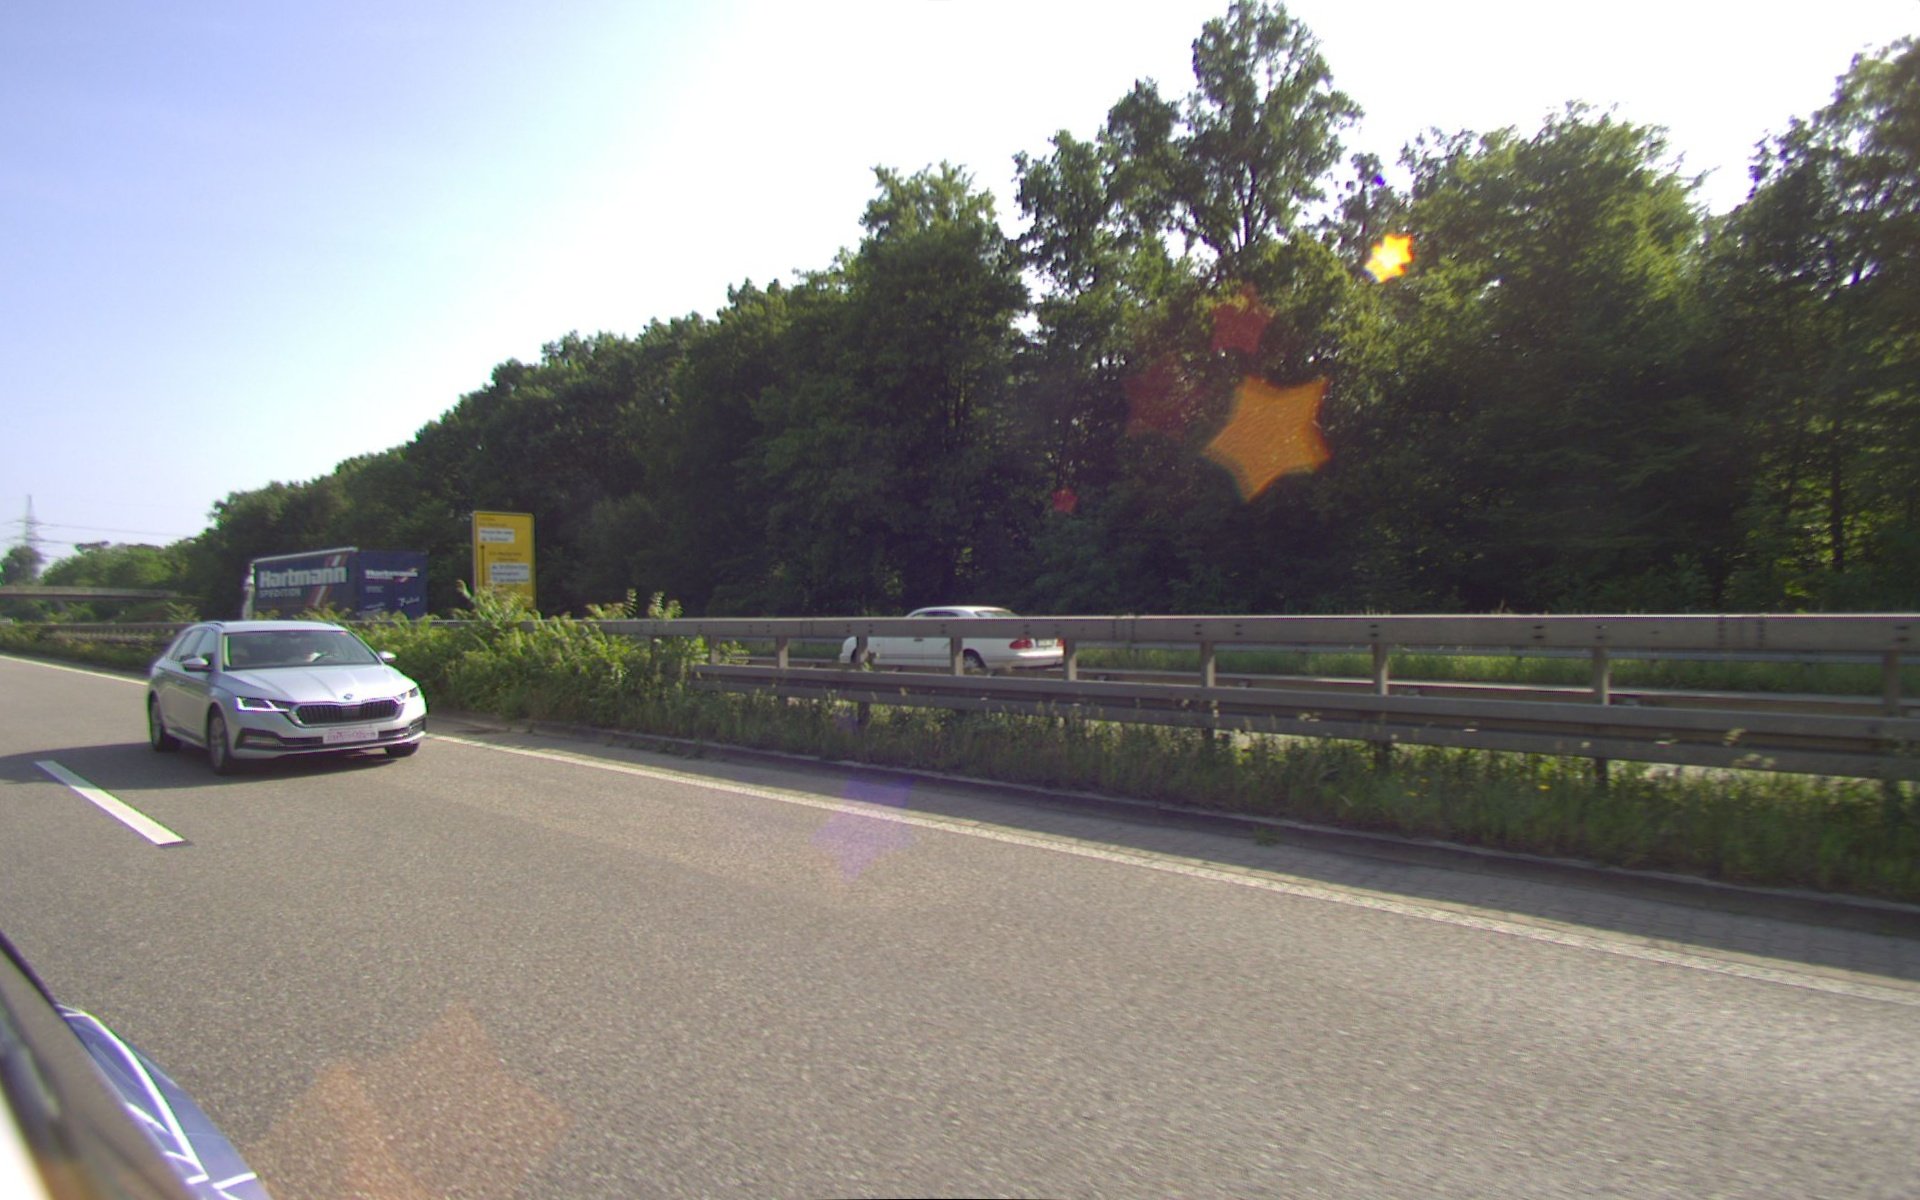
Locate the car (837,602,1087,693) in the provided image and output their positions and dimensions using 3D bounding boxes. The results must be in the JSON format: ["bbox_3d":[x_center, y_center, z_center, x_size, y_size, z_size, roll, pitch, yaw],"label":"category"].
[{"bbox_3d":[-0.079,0.858,19.409,4.808,1.476,1.733,-2,1,41],"label":"car"}]

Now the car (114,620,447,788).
[{"bbox_3d":[-7.708,0.975,11.224,5.275,1.449,1.773,-2,-2,41],"label":"car"}]

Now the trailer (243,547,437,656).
[{"bbox_3d":[-27.167,0.233,43.792,14.308,4.101,2.935,-2,-2,41],"label":"trailer"}]

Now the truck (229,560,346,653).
[{"bbox_3d":[-31.826,0.373,47.793,6.560,4.101,2.935,-2,-2,41],"label":"truck"}]
